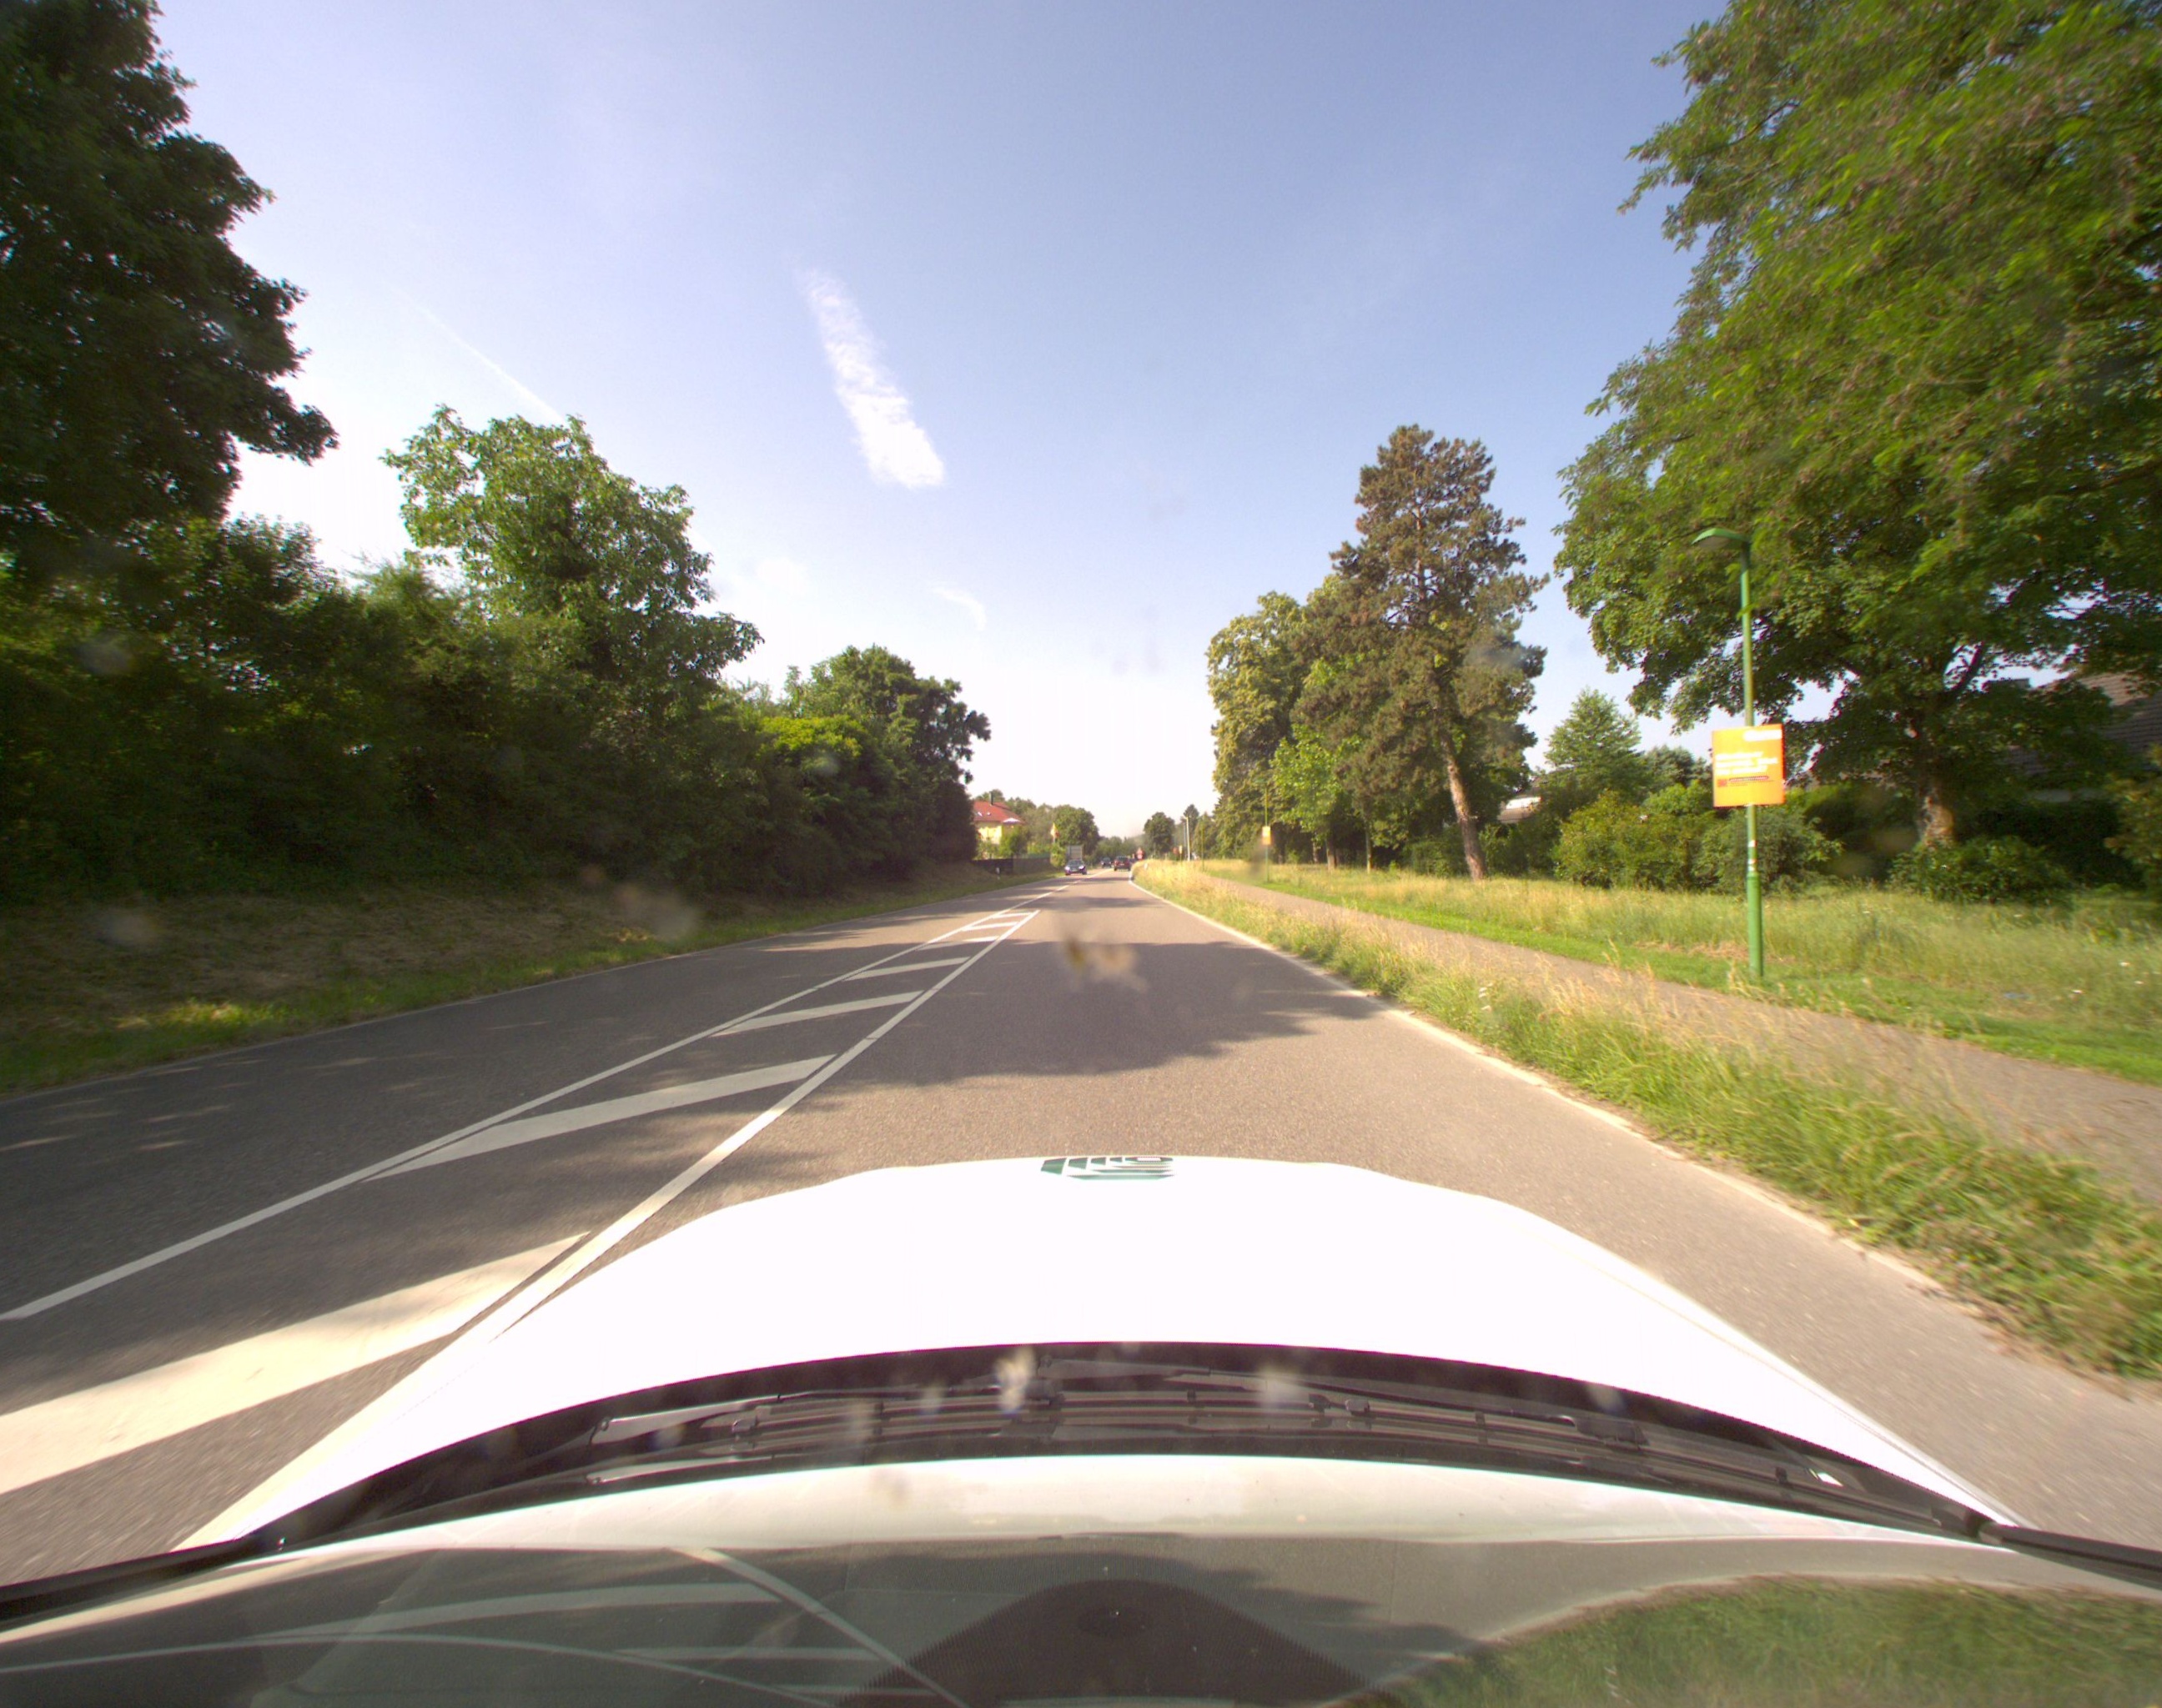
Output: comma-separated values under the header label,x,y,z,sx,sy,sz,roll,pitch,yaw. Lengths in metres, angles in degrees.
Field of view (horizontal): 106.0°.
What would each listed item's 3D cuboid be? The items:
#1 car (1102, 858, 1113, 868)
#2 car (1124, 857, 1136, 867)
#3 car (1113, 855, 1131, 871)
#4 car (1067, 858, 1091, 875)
label,x,y,z,sx,sy,sz,roll,pitch,yaw
car,4.978,1.691,154.991,1.932,1.817,4.243,-2,-1,1
car,7.821,1.311,130.097,1.730,1.516,3.913,-2,0,0
car,4.815,1.023,96.407,1.918,1.771,4.001,-2,0,1
car,-0.160,1.120,75.918,1.863,1.423,4.580,-4,0,3
